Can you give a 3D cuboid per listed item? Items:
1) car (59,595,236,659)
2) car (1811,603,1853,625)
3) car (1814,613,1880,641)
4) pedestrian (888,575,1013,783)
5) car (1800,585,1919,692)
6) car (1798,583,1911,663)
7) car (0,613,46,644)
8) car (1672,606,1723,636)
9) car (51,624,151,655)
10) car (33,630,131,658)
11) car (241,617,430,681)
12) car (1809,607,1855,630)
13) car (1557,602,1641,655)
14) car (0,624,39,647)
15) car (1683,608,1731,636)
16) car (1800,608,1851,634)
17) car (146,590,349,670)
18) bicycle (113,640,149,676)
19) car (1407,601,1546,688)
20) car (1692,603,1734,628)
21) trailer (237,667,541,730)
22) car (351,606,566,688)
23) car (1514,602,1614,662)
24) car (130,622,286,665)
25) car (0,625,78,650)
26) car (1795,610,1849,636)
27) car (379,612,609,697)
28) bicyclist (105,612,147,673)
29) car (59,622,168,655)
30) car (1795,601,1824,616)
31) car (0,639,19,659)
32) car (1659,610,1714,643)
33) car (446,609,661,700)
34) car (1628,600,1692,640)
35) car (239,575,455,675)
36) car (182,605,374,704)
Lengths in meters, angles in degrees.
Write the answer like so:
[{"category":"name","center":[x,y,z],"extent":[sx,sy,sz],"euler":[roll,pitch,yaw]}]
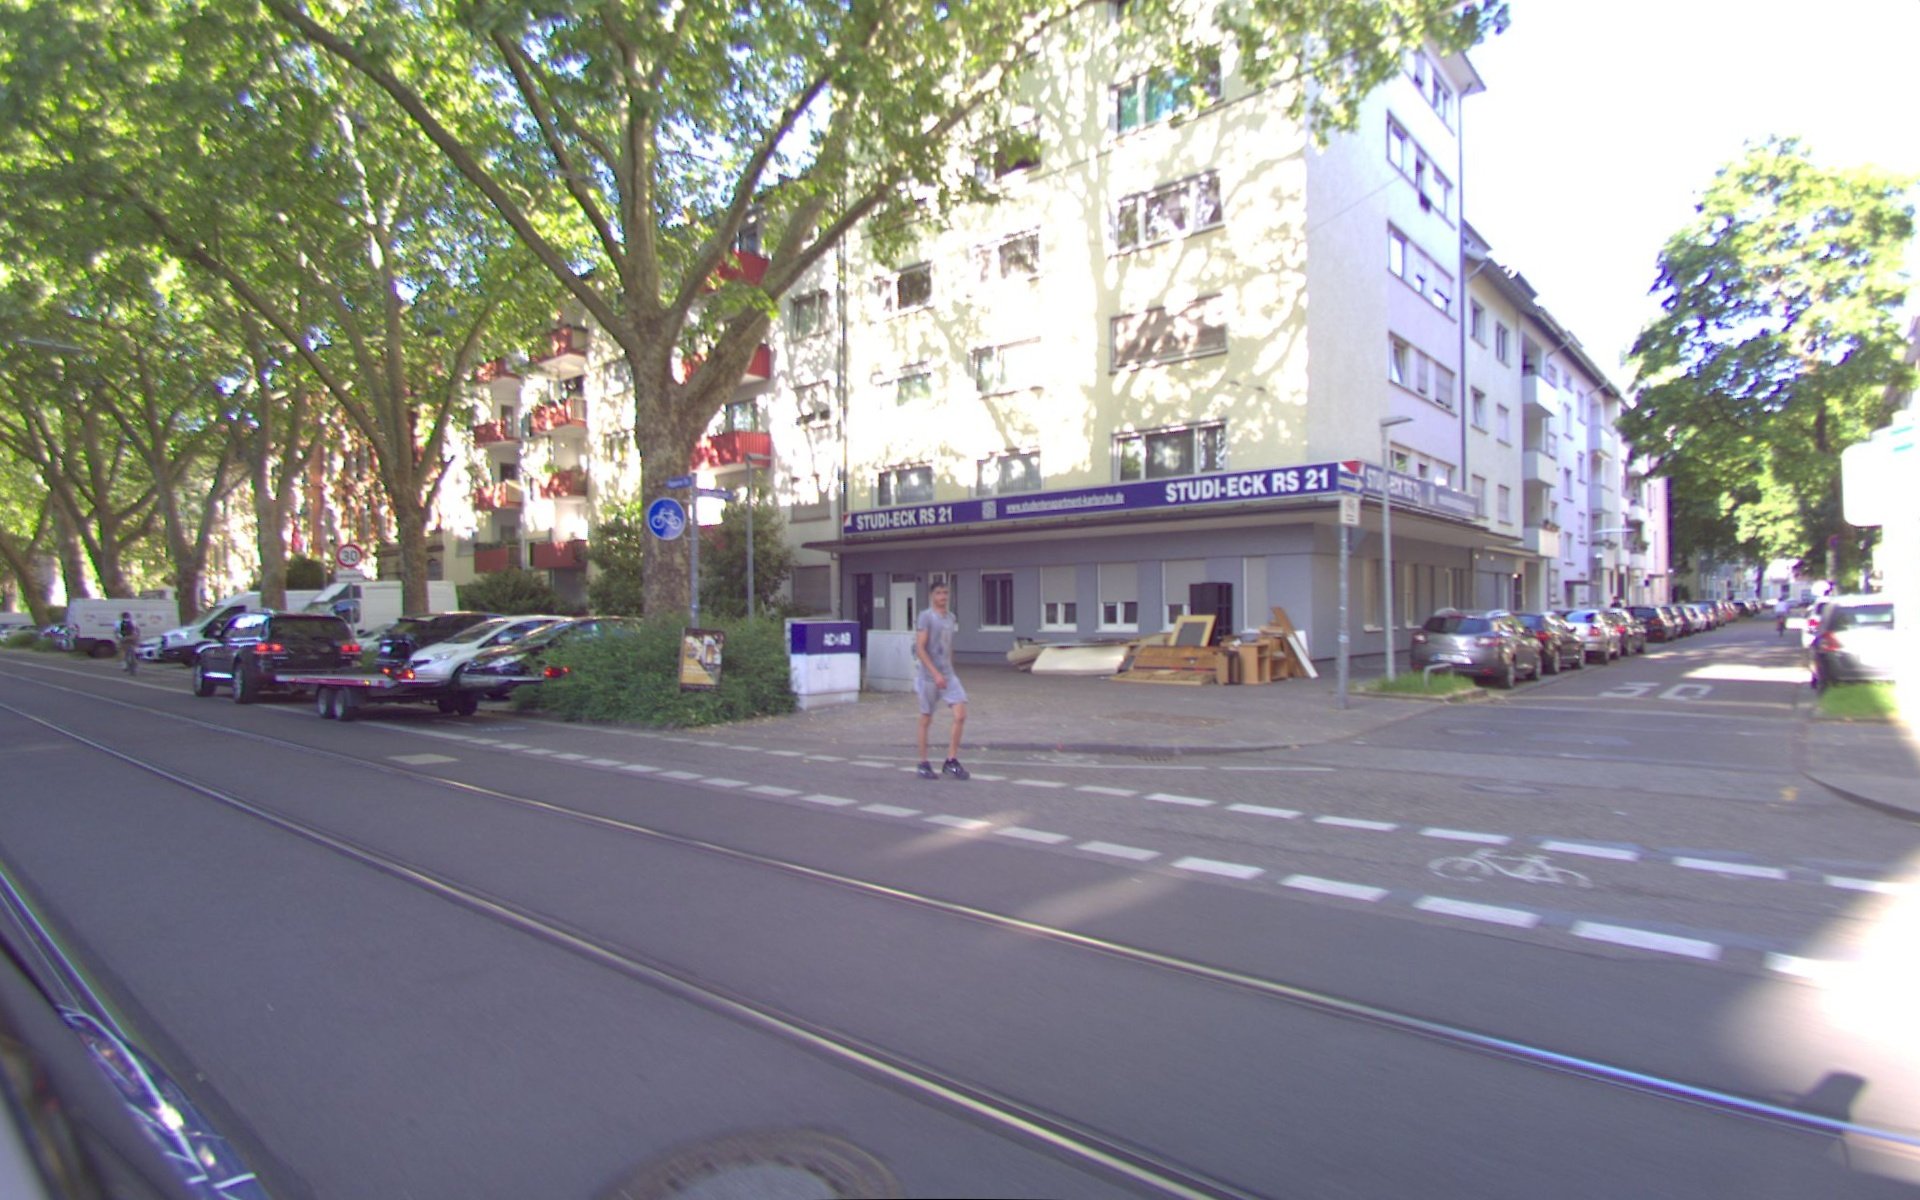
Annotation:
[{"category":"car","center":[-35.226,1.120,44.024],"extent":[2.161,2.555,5.681],"euler":[-2,-1,41]},{"category":"car","center":[46.740,0.744,54.261],"extent":[1.647,1.103,3.369],"euler":[-2,-1,41]},{"category":"car","center":[30.727,0.910,35.109],"extent":[1.647,0.889,3.369],"euler":[-2,-1,41]},{"category":"pedestrian","center":[-0.081,0.684,9.068],"extent":[0.908,1.748,0.707],"euler":[-1,-2,27]},{"category":"car","center":[15.466,0.599,16.902],"extent":[1.999,1.597,3.608],"euler":[-5,-4,42]},{"category":"car","center":[21.804,0.542,24.811],"extent":[1.884,1.783,3.947],"euler":[-2,-1,39]},{"category":"car","center":[-81.395,2.501,85.096],"extent":[1.999,2.426,6.534],"euler":[-2,1,41]},{"category":"car","center":[36.479,1.030,50.022],"extent":[1.819,1.430,3.948],"euler":[-2,-1,39]},{"category":"car","center":[-44.188,2.012,52.128],"extent":[1.704,1.471,3.753],"euler":[-2,-1,41]},{"category":"car","center":[-50.586,2.517,58.351],"extent":[1.764,1.471,3.957],"euler":[-1,-1,31]},{"category":"car","center":[-16.269,1.226,26.493],"extent":[1.859,1.489,3.816],"euler":[-1,-1,39]},{"category":"car","center":[42.880,0.902,49.823],"extent":[1.647,1.103,3.369],"euler":[-2,-1,41]},{"category":"car","center":[19.223,0.815,30.373],"extent":[1.818,1.463,3.950],"euler":[-1,-1,37]},{"category":"car","center":[-74.743,2.752,78.814],"extent":[1.814,1.725,4.279],"euler":[-1,-1,37]},{"category":"car","center":[40.228,1.169,54.493],"extent":[1.820,1.430,3.947],"euler":[-2,-1,40]},{"category":"car","center":[38.562,0.936,45.115],"extent":[1.647,1.103,3.369],"euler":[-2,-1,41]},{"category":"car","center":[-24.053,0.944,34.343],"extent":[2.056,2.496,5.304],"euler":[-2,-1,41]},{"category":"bicycle","center":[-23.617,1.641,28.805],"extent":[1.928,0.969,0.515],"euler":[-2,-1,42]},{"category":"car","center":[10.424,0.825,20.297],"extent":[1.818,1.547,3.950],"euler":[-1,-1,37]},{"category":"car","center":[45.777,0.921,61.529],"extent":[1.820,1.430,3.947],"euler":[-2,-1,40]},{"category":"trailer","center":[-9.257,1.476,16.072],"extent":[6.395,0.637,2.139],"euler":[-2,-3,40]},{"category":"car","center":[-11.285,0.985,22.969],"extent":[1.892,1.660,3.947],"euler":[-1,-1,39]},{"category":"car","center":[15.918,0.795,26.577],"extent":[1.818,1.463,3.950],"euler":[-1,-1,37]},{"category":"car","center":[-27.826,1.565,37.552],"extent":[1.932,1.395,4.364],"euler":[-1,-1,40]},{"category":"car","center":[-58.413,2.335,63.887],"extent":[1.877,1.471,3.947],"euler":[-2,-1,40]},{"category":"car","center":[35.986,0.949,42.265],"extent":[1.647,1.022,3.369],"euler":[-2,-1,41]},{"category":"car","center":[-9.503,1.039,20.870],"extent":[1.769,1.533,3.947],"euler":[-1,-1,39]},{"category":"bicyclist","center":[-23.614,1.200,28.649],"extent":[0.957,1.690,0.776],"euler":[-2,-1,41]},{"category":"car","center":[-42.075,1.904,50.345],"extent":[1.829,1.507,3.945],"euler":[-1,-1,41]},{"category":"car","center":[64.485,0.649,76.842],"extent":[1.647,1.103,3.369],"euler":[-2,-1,41]},{"category":"car","center":[-77.251,3.912,80.170],"extent":[1.745,1.529,3.733],"euler":[-1,-1,37]},{"category":"car","center":[33.257,1.203,46.289],"extent":[1.819,1.430,3.948],"euler":[-2,-1,39]},{"category":"car","center":[-7.673,0.957,19.304],"extent":[1.784,1.542,3.398],"euler":[-1,-1,38]},{"category":"car","center":[26.648,0.735,38.497],"extent":[1.818,1.442,3.950],"euler":[-1,-1,37]},{"category":"car","center":[-17.394,0.671,28.950],"extent":[2.078,2.587,4.899],"euler":[-1,-1,36]},{"category":"car","center":[-13.329,1.007,19.682],"extent":[4.482,1.713,1.973],"euler":[-1,-3,41]}]
